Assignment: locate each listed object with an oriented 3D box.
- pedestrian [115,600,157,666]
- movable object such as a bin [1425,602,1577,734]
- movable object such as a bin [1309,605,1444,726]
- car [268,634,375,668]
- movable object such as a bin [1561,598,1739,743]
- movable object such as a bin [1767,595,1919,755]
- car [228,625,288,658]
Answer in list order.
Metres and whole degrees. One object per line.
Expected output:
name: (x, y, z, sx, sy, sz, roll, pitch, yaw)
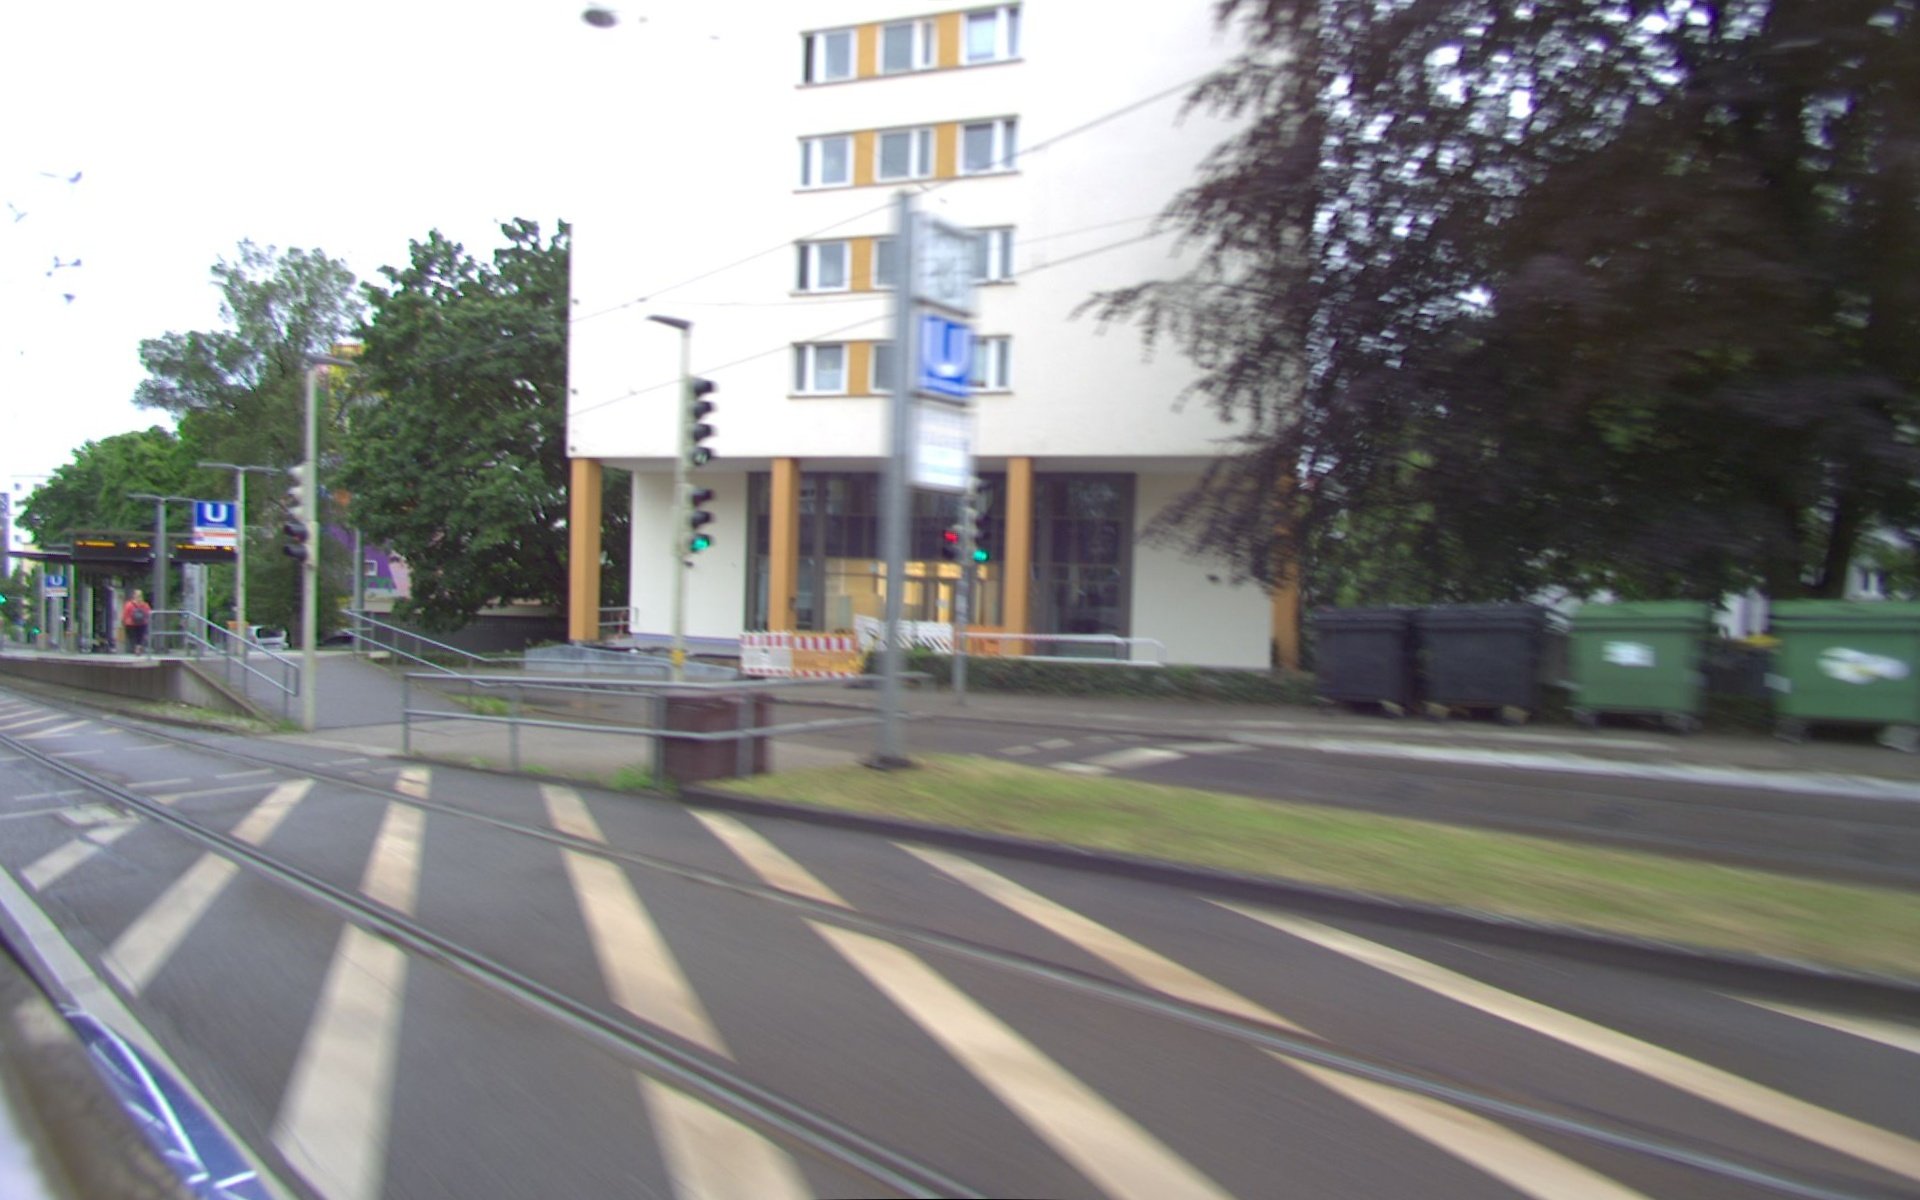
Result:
pedestrian: (-19.752, 0.792, 24.270, 0.771, 1.560, 0.664, -3, -2, 41)
movable object such as a bin: (6.480, 0.778, 12.138, 1.355, 1.444, 1.009, -2, 0, 44)
movable object such as a bin: (5.418, 0.821, 13.187, 1.304, 1.444, 1.009, -2, 0, 44)
car: (-32.222, 2.571, 51.228, 4.416, 1.554, 1.951, -1, -2, -28)
movable object such as a bin: (7.607, 0.736, 11.169, 1.444, 1.444, 1.009, -2, 0, 44)
movable object such as a bin: (8.879, 0.695, 9.893, 1.427, 1.444, 1.009, -2, 0, 44)
car: (-39.291, 2.319, 56.597, 4.439, 1.730, 1.728, -2, -2, 41)
